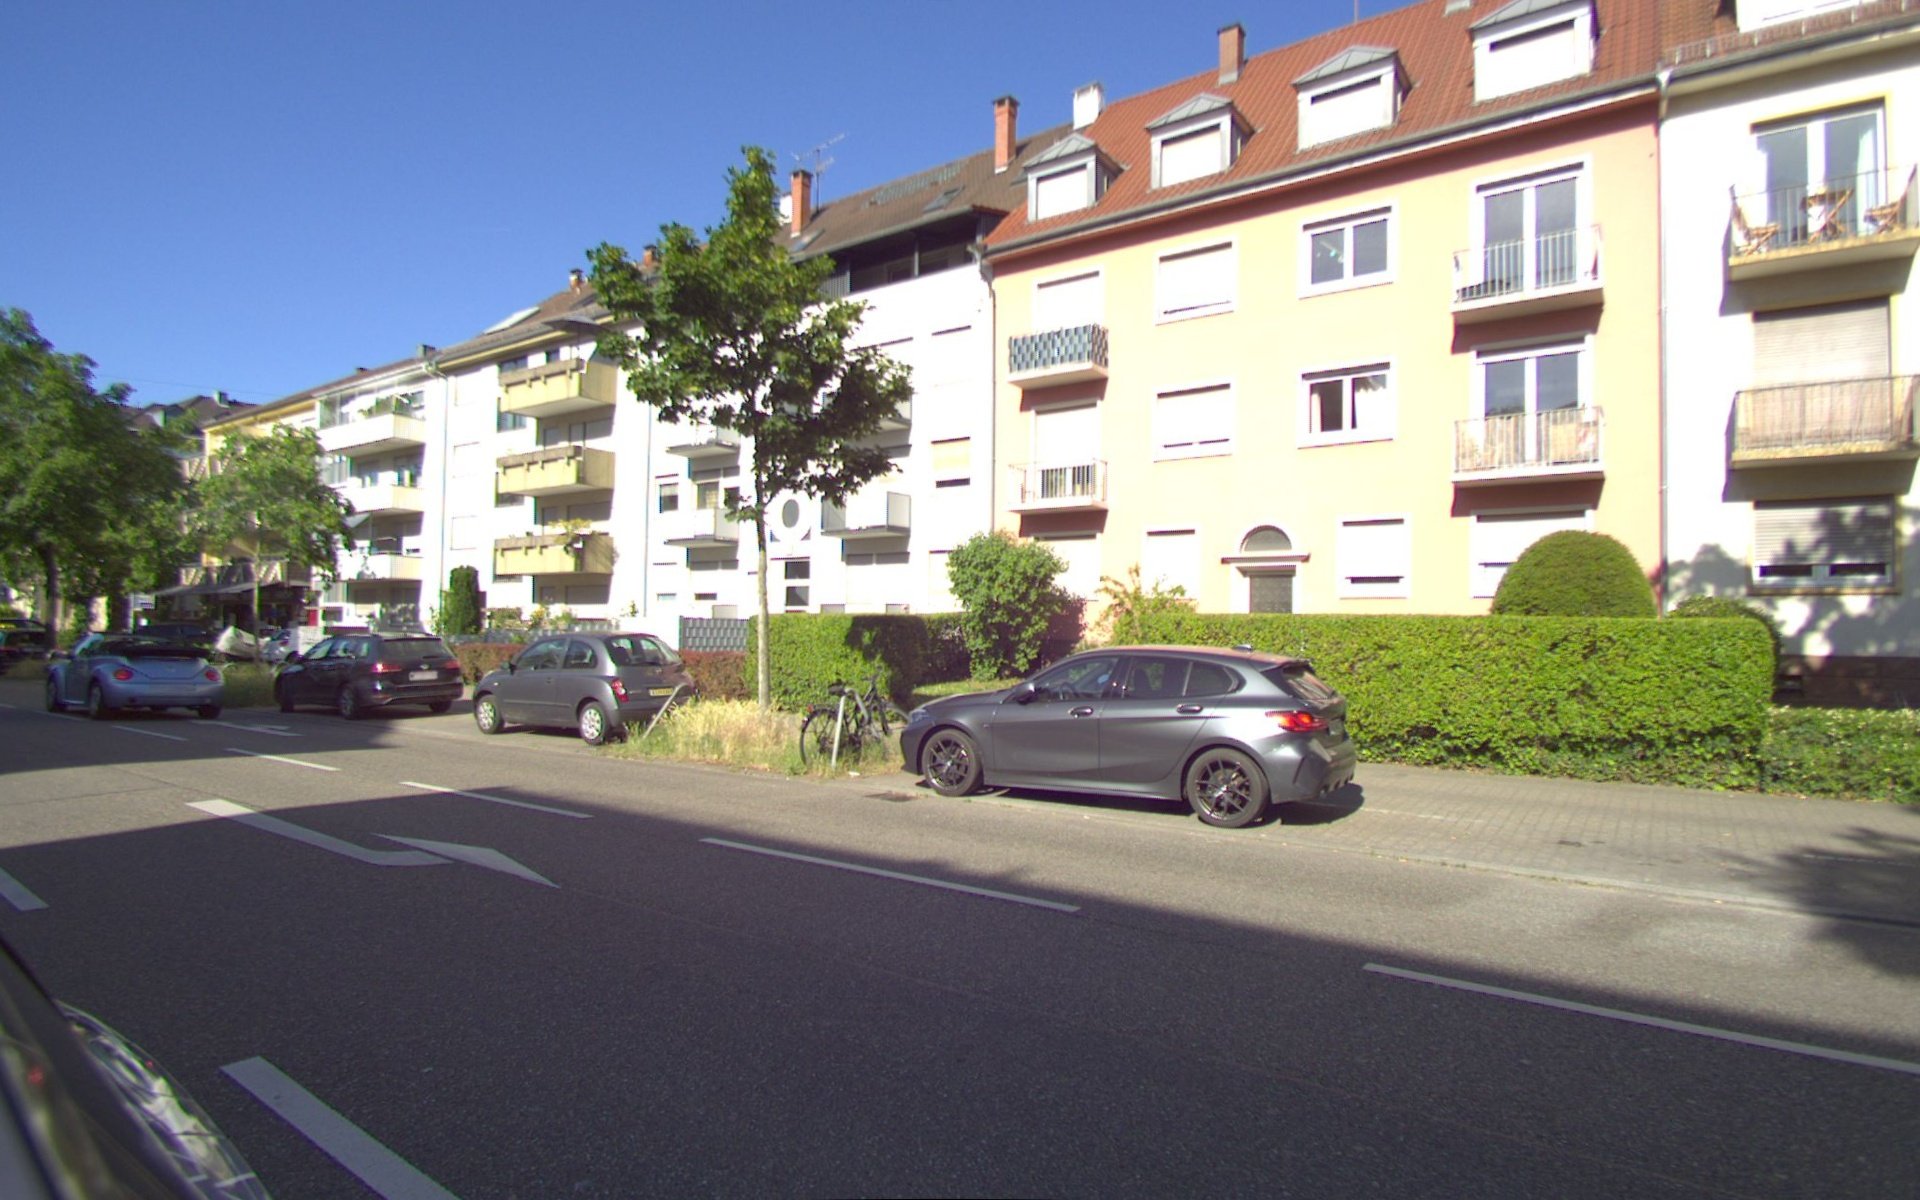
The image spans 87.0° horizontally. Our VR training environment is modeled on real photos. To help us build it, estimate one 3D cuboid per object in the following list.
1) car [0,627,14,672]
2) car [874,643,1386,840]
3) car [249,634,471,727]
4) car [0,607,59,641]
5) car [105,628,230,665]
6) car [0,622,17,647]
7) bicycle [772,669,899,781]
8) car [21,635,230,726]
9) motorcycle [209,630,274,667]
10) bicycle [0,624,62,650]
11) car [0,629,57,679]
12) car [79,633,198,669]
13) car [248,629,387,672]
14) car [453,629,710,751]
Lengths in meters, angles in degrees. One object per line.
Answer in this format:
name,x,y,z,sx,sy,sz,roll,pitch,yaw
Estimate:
car,-35.974,1.779,36.555,4.124,1.608,1.708,-1,-2,34
car,1.460,1.122,9.369,4.352,1.419,1.754,-2,-2,33
car,-11.010,1.394,18.481,4.482,1.505,1.770,-2,-3,35
car,-53.514,1.359,56.667,1.860,1.893,4.311,-1,-2,12
car,-33.340,1.940,42.637,1.733,1.472,3.942,-2,-3,44
car,-59.130,2.080,60.474,1.631,1.500,3.868,-2,-2,40
bicycle,-1.371,1.361,11.393,0.547,1.143,1.530,-2,-4,34
car,-14.326,1.331,17.334,3.927,1.392,1.722,-2,-4,35
motorcycle,-30.075,1.995,42.388,0.781,1.497,2.126,-2,-3,44
bicycle,-50.028,1.966,54.193,0.939,1.272,3.173,2,-1,1
car,-31.567,1.733,33.362,4.670,1.547,1.707,-1,-2,36
car,-35.888,2.197,44.331,3.934,1.467,1.737,1,-2,-36
car,-23.744,1.839,37.503,1.876,1.498,3.953,-2,-2,35
car,-5.557,1.223,14.748,3.647,1.537,1.662,-2,-1,32
